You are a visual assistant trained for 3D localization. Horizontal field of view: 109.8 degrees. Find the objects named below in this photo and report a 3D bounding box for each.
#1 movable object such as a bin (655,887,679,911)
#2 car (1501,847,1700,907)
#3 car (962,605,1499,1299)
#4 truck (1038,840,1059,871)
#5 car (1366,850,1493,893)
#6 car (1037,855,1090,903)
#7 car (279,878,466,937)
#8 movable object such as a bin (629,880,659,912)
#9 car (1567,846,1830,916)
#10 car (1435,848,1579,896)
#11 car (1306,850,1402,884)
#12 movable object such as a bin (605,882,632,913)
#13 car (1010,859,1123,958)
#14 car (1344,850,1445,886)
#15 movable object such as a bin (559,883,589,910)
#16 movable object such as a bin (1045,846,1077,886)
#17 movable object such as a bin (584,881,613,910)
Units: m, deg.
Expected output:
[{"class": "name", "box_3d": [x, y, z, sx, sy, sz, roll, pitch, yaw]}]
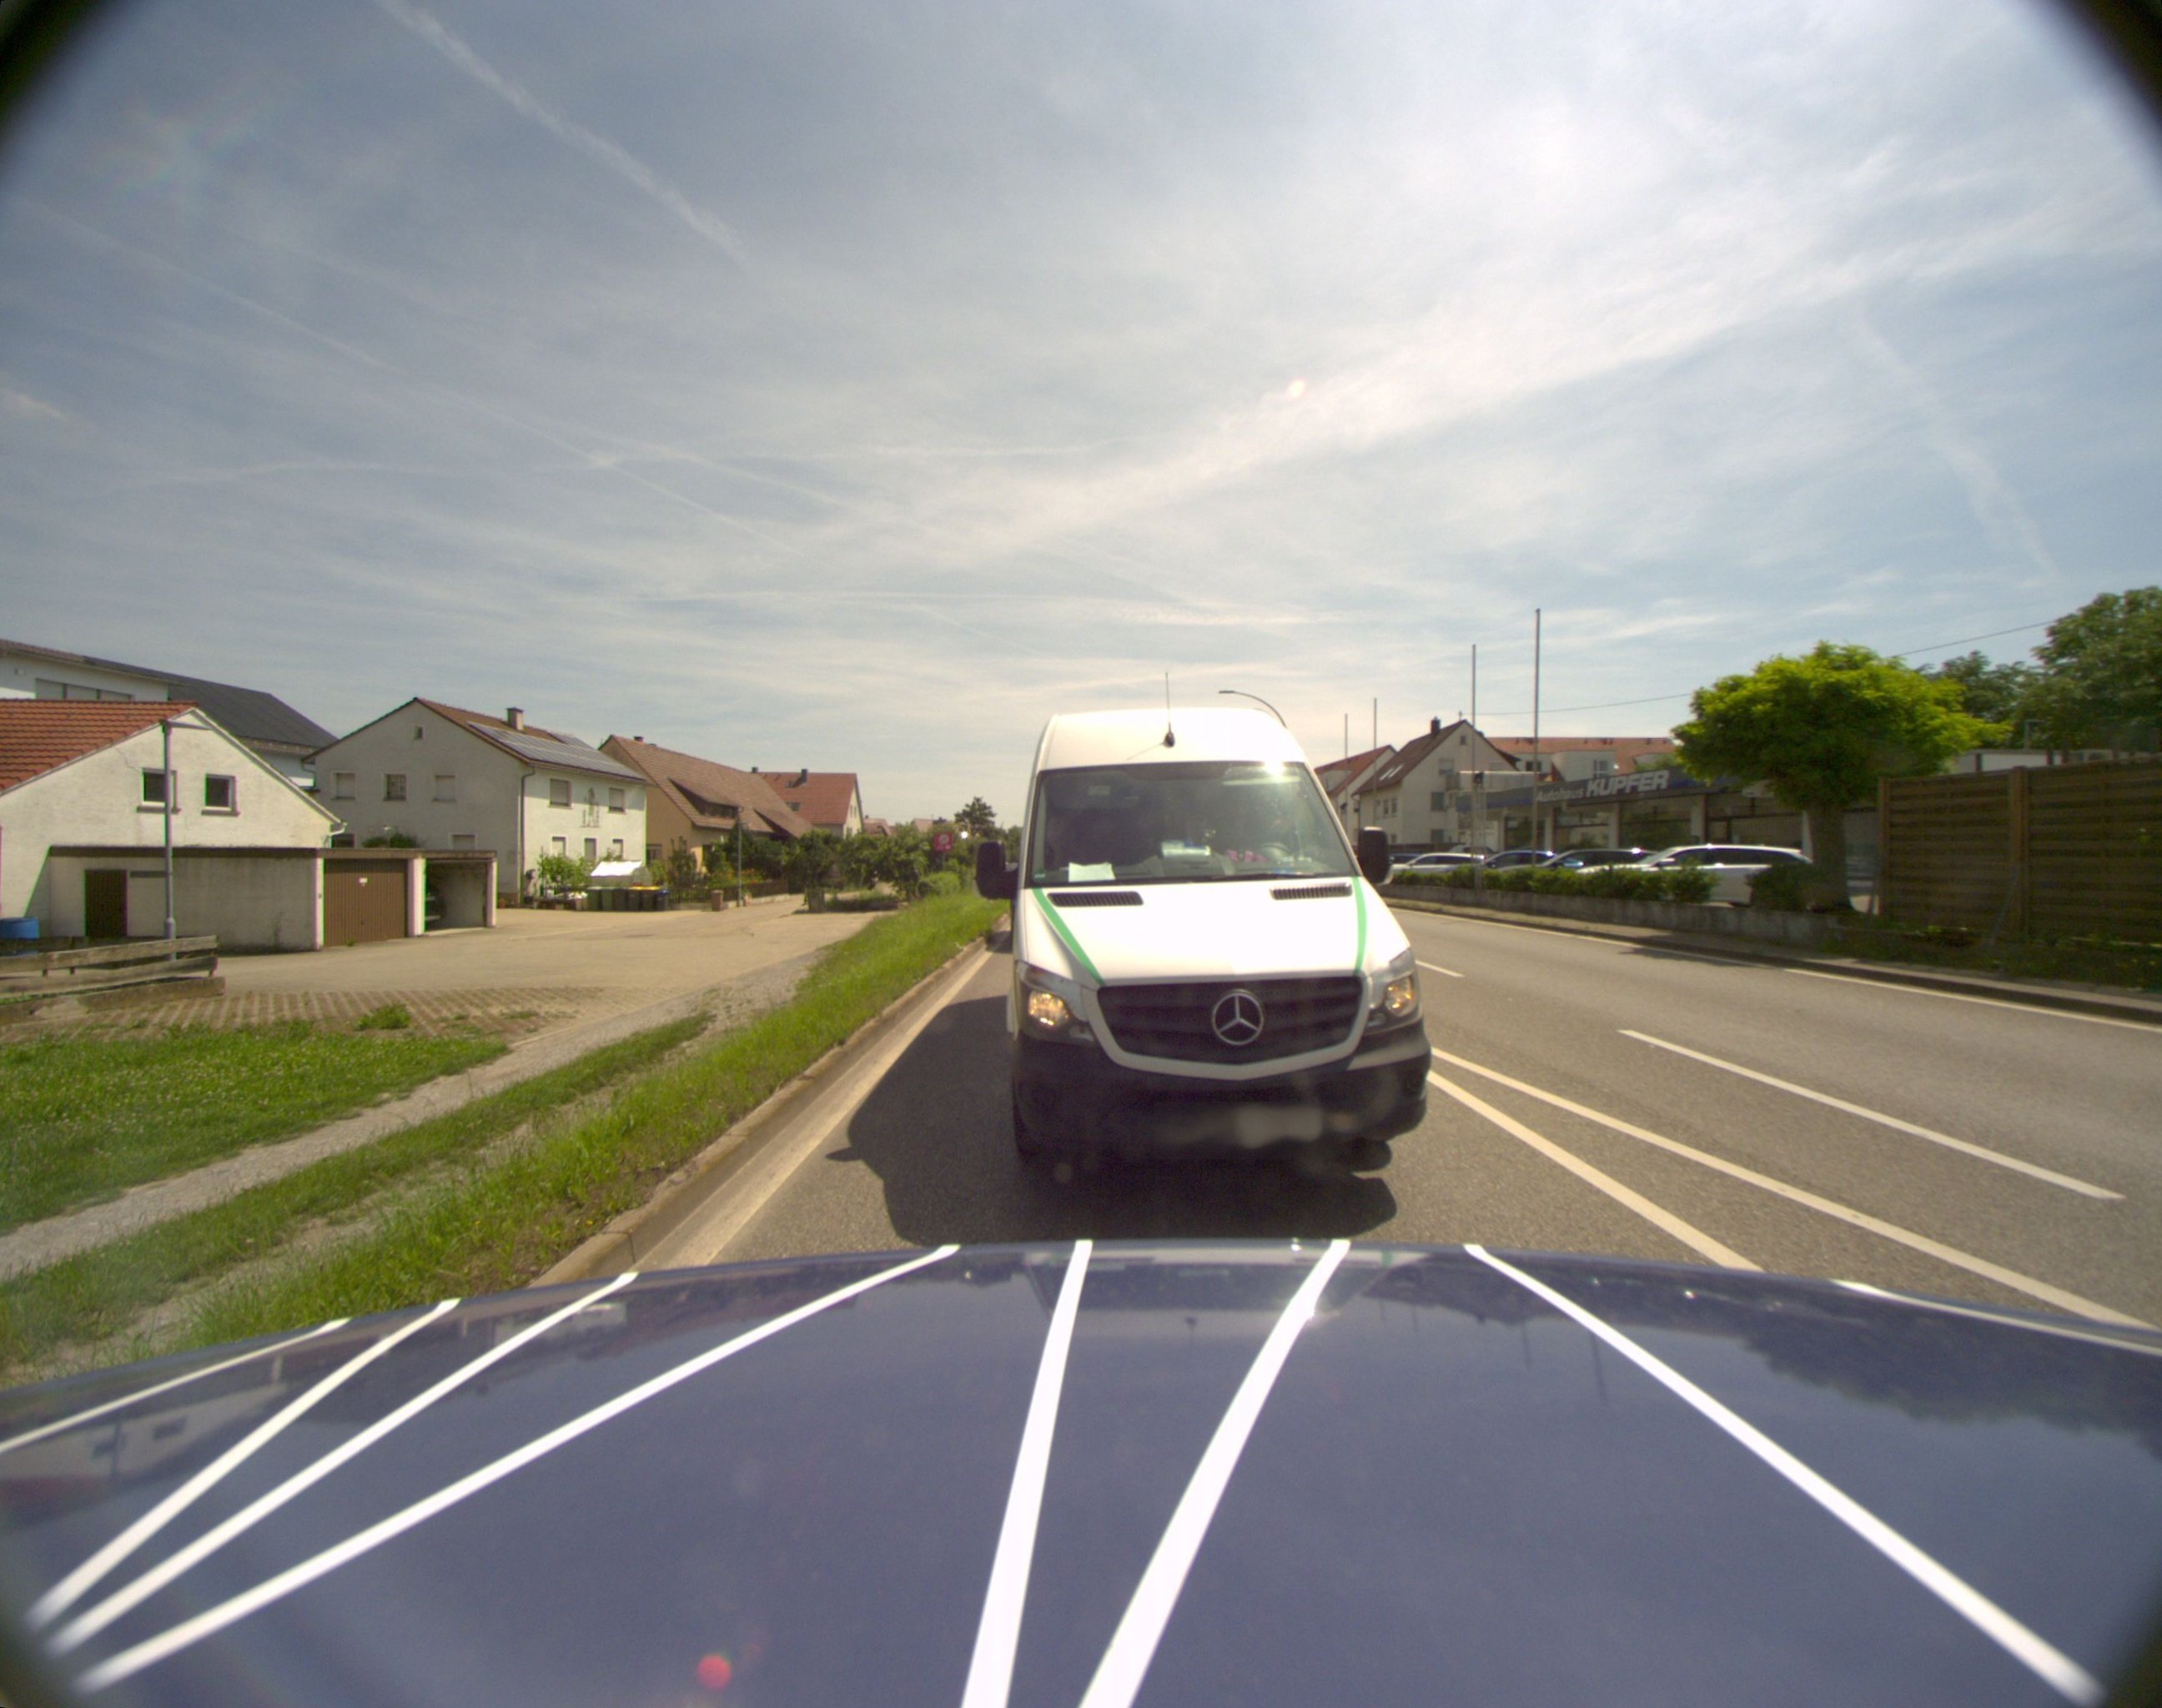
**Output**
[{"class": "movable object such as a bin", "box_3d": [-18.851, 2.038, 34.630, 0.645, 1.021, 0.756, -2, 0, -1]}, {"class": "car", "box_3d": [14.230, 0.641, 21.129, 4.251, 1.536, 1.853, -2, 0, 23]}, {"class": "car", "box_3d": [0.541, 0.384, 5.715, 1.978, 2.583, 5.633, -2, 0, -1]}, {"class": "truck", "box_3d": [-4.173, 0.174, 99.466, 2.506, 3.847, 5.497, -2, 0, -1]}, {"class": "car", "box_3d": [13.491, 0.692, 29.503, 4.303, 1.510, 2.003, -2, 0, 27]}, {"class": "car", "box_3d": [-0.647, 0.859, 28.216, 1.824, 1.637, 3.901, -1, 0, -1]}, {"class": "car", "box_3d": [-21.598, 1.606, 23.271, 3.997, 1.594, 1.826, -1, 0, 0]}, {"class": "movable object such as a bin", "box_3d": [-19.858, 1.905, 34.536, 0.765, 1.362, 0.946, -2, 0, -1]}, {"class": "car", "box_3d": [13.869, 0.599, 17.418, 4.329, 1.451, 1.858, -1, 0, 24]}, {"class": "car", "box_3d": [13.926, 0.597, 25.139, 3.990, 1.433, 1.857, -2, 0, 25]}, {"class": "car", "box_3d": [13.574, 0.644, 37.765, 4.255, 1.521, 2.003, -2, 0, 26]}, {"class": "movable object such as a bin", "box_3d": [-21.198, 1.985, 34.834, 0.678, 1.330, 0.820, -2, 0, -1]}, {"class": "car", "box_3d": [-0.265, 0.890, 14.258, 1.824, 1.574, 3.901, -1, 0, -1]}, {"class": "car", "box_3d": [13.892, 0.616, 33.656, 3.990, 1.455, 2.003, -2, 0, 26]}, {"class": "movable object such as a bin", "box_3d": [-23.048, 1.928, 34.547, 0.740, 1.149, 0.830, -2, 0, -1]}, {"class": "movable object such as a bin", "box_3d": [-1.390, 0.817, 54.660, 1.998, 2.710, 5.419, -1, 0, 1]}, {"class": "movable object such as a bin", "box_3d": [-22.077, 1.896, 34.780, 0.745, 1.239, 0.889, -2, 0, -1]}]
